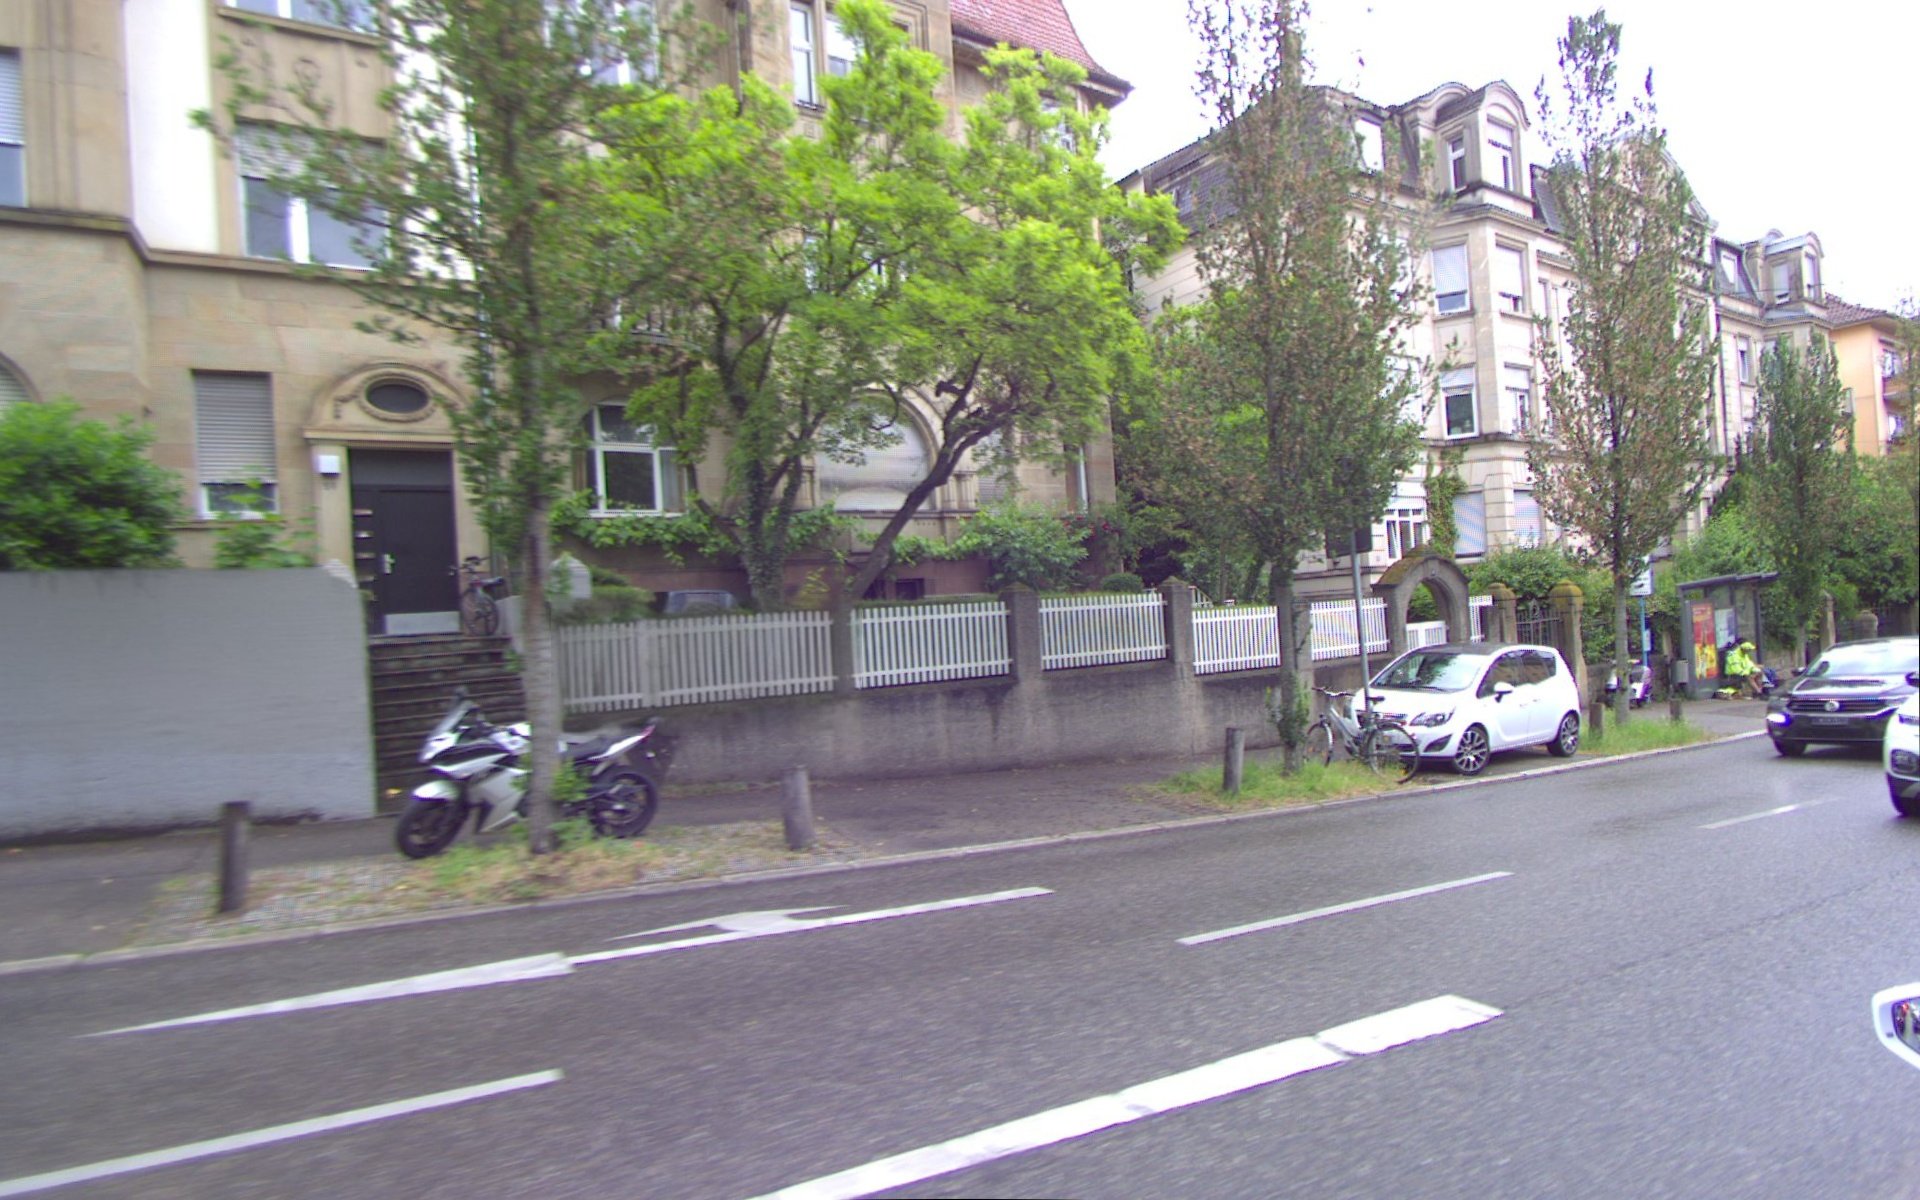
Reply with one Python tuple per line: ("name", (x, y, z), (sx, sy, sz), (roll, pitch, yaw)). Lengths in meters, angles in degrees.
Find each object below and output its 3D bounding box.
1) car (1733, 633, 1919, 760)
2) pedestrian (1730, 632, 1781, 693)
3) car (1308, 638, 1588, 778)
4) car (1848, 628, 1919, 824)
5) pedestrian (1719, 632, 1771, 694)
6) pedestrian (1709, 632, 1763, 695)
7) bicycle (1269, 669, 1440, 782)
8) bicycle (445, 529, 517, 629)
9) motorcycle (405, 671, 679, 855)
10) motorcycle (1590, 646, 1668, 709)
("car", (12.647, 1.266, 14.011), (3.828, 1.537, 1.734), (1, -5, -34))
("pedestrian", (19.270, 1.510, 24.347), (0.642, 1.451, 0.762), (0, -2, -31))
("car", (6.914, 1.379, 14.067), (4.260, 1.580, 1.729), (1, 0, -36))
("car", (9.484, 0.990, 8.630), (4.056, 1.537, 1.762), (1, -3, -34))
("pedestrian", (18.733, 1.492, 23.975), (0.642, 1.451, 0.762), (0, -2, -31))
("pedestrian", (18.224, 1.474, 23.595), (0.751, 1.451, 0.762), (0, -2, -33))
("bicycle", (4.881, 1.515, 12.580), (0.650, 1.252, 1.964), (0, -3, -33))
("bicycle", (-6.669, -0.241, 13.944), (0.650, 1.252, 1.964), (0, -3, -33))
("motorcycle", (-3.306, 1.230, 8.023), (1.958, 1.252, 0.652), (0, -2, -30))
("motorcycle", (14.097, 1.612, 21.147), (1.742, 1.253, 0.652), (0, -2, -30))
